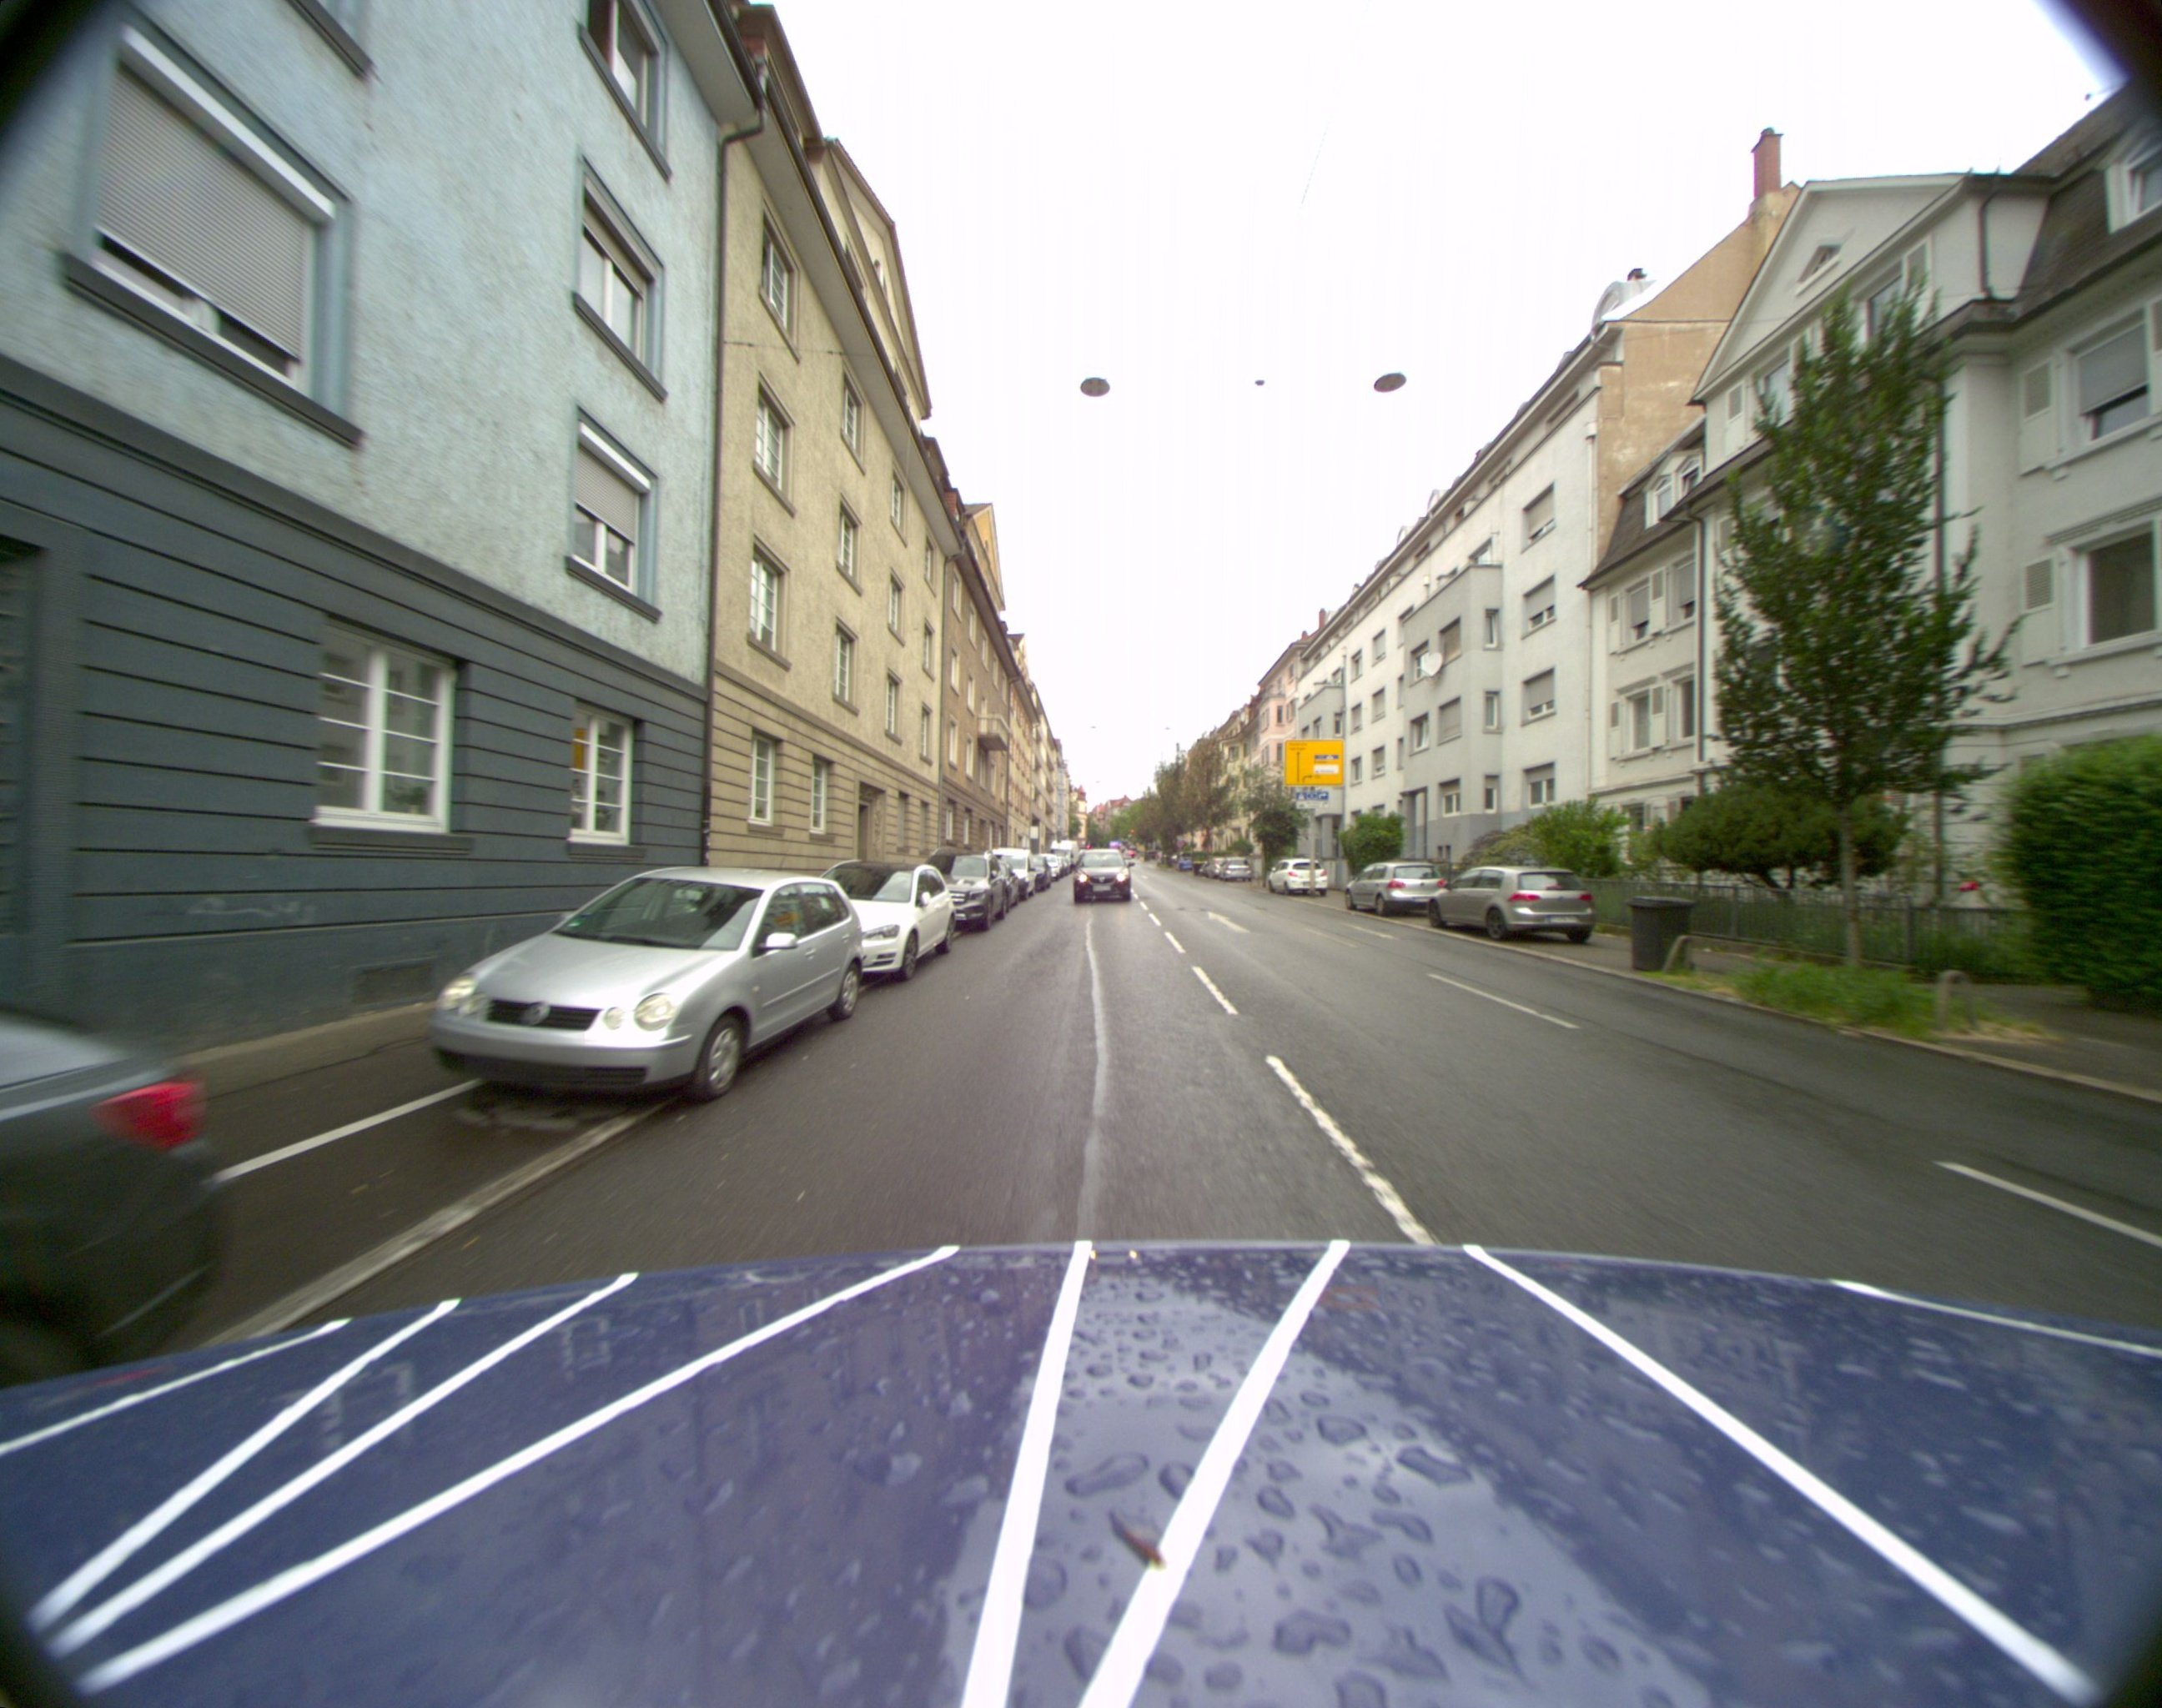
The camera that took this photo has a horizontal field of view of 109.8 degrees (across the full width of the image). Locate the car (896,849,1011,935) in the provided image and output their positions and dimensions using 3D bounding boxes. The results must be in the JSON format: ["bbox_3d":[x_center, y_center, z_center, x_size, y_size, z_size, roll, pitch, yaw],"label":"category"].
[{"bbox_3d":[-2.720,0.746,17.180,1.845,1.611,4.207,1,1,0],"label":"car"}]

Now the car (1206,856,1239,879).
[{"bbox_3d":[9.712,0.907,52.534,1.604,1.388,3.886,0,1,1],"label":"car"}]

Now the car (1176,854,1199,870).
[{"bbox_3d":[10.331,0.758,73.664,1.683,1.378,4.602,0,1,1],"label":"car"}]

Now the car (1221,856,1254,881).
[{"bbox_3d":[9.790,0.894,47.827,1.604,1.443,3.889,-1,0,5],"label":"car"}]

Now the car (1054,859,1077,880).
[{"bbox_3d":[-1.276,1.246,61.656,1.782,1.471,4.188,0,1,-1],"label":"car"}]

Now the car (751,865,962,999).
[{"bbox_3d":[-2.957,0.943,10.942,1.733,1.421,3.973,3,0,1],"label":"car"}]

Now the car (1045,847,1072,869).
[{"bbox_3d":[-1.644,0.289,56.313,1.782,1.471,4.587,0,1,1],"label":"car"}]

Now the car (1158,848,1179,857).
[{"bbox_3d":[17.248,-0.365,149.471,3.928,1.613,1.592,1,1,2],"label":"car"}]

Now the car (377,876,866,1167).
[{"bbox_3d":[-3.065,0.982,6.015,1.587,1.421,3.595,3,0,1],"label":"car"}]

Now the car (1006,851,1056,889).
[{"bbox_3d":[-2.173,0.665,34.324,1.795,1.539,4.226,2,0,2],"label":"car"}]

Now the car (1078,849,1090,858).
[{"bbox_3d":[0.502,-0.107,121.372,1.709,1.434,3.933,1,1,2],"label":"car"}]

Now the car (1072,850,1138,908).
[{"bbox_3d":[0.697,0.736,24.585,1.889,1.543,3.999,-3,1,0],"label":"car"}]

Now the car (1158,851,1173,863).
[{"bbox_3d":[11.359,0.388,102.277,1.685,1.410,4.137,1,1,2],"label":"car"}]

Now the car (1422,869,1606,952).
[{"bbox_3d":[8.769,1.067,15.814,1.686,1.382,3.936,0,1,2],"label":"car"}]

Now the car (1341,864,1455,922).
[{"bbox_3d":[8.844,1.035,21.543,1.686,1.382,3.909,-1,0,2],"label":"car"}]

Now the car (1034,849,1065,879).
[{"bbox_3d":[-1.889,0.544,46.149,1.636,1.629,4.194,3,1,0],"label":"car"}]

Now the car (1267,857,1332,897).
[{"bbox_3d":[9.085,0.917,31.881,1.650,1.499,3.796,0,0,0],"label":"car"}]

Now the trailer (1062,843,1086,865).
[{"bbox_3d":[-0.656,0.018,76.835,1.998,2.139,5.074,2,0,4],"label":"trailer"}]

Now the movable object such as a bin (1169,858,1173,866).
[{"bbox_3d":[10.275,0.896,86.417,0.365,0.884,0.572,-2,1,1],"label":"movable object such as a bin"}]

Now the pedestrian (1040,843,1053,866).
[{"bbox_3d":[-2.670,0.045,59.176,0.688,1.777,0.712,1,2,-26],"label":"pedestrian"}]

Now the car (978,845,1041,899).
[{"bbox_3d":[-2.562,0.598,28.139,1.795,1.807,4.080,2,0,1],"label":"car"}]

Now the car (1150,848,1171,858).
[{"bbox_3d":[15.902,-0.286,152.052,3.929,1.836,1.867,-1,2,-1],"label":"car"}]

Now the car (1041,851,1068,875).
[{"bbox_3d":[-1.766,0.579,51.974,1.636,1.470,3.734,3,1,0],"label":"car"}]

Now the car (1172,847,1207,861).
[{"bbox_3d":[15.369,0.026,108.107,4.731,1.894,1.918,-1,2,0],"label":"car"}]

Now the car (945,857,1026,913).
[{"bbox_3d":[-2.781,0.849,23.020,1.845,1.401,4.387,2,1,0],"label":"car"}]

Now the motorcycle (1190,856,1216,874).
[{"bbox_3d":[9.249,0.833,57.462,1.806,1.307,0.743,1,1,43],"label":"motorcycle"}]

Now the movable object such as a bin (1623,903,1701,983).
[{"bbox_3d":[8.267,1.254,10.832,0.631,1.052,0.600,1,2,2],"label":"movable object such as a bin"}]

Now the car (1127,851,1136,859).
[{"bbox_3d":[10.749,0.139,162.095,1.771,1.540,3.652,-1,1,1],"label":"car"}]

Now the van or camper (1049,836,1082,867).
[{"bbox_3d":[-1.351,-0.238,69.513,2.189,2.684,6.422,1,0,6],"label":"van or camper"}]

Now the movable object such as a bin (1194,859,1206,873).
[{"bbox_3d":[9.436,0.982,60.241,0.826,1.052,0.483,-3,2,3],"label":"movable object such as a bin"}]

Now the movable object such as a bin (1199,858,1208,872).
[{"bbox_3d":[9.525,0.887,58.997,0.526,1.052,0.482,-3,2,-20],"label":"movable object such as a bin"}]
